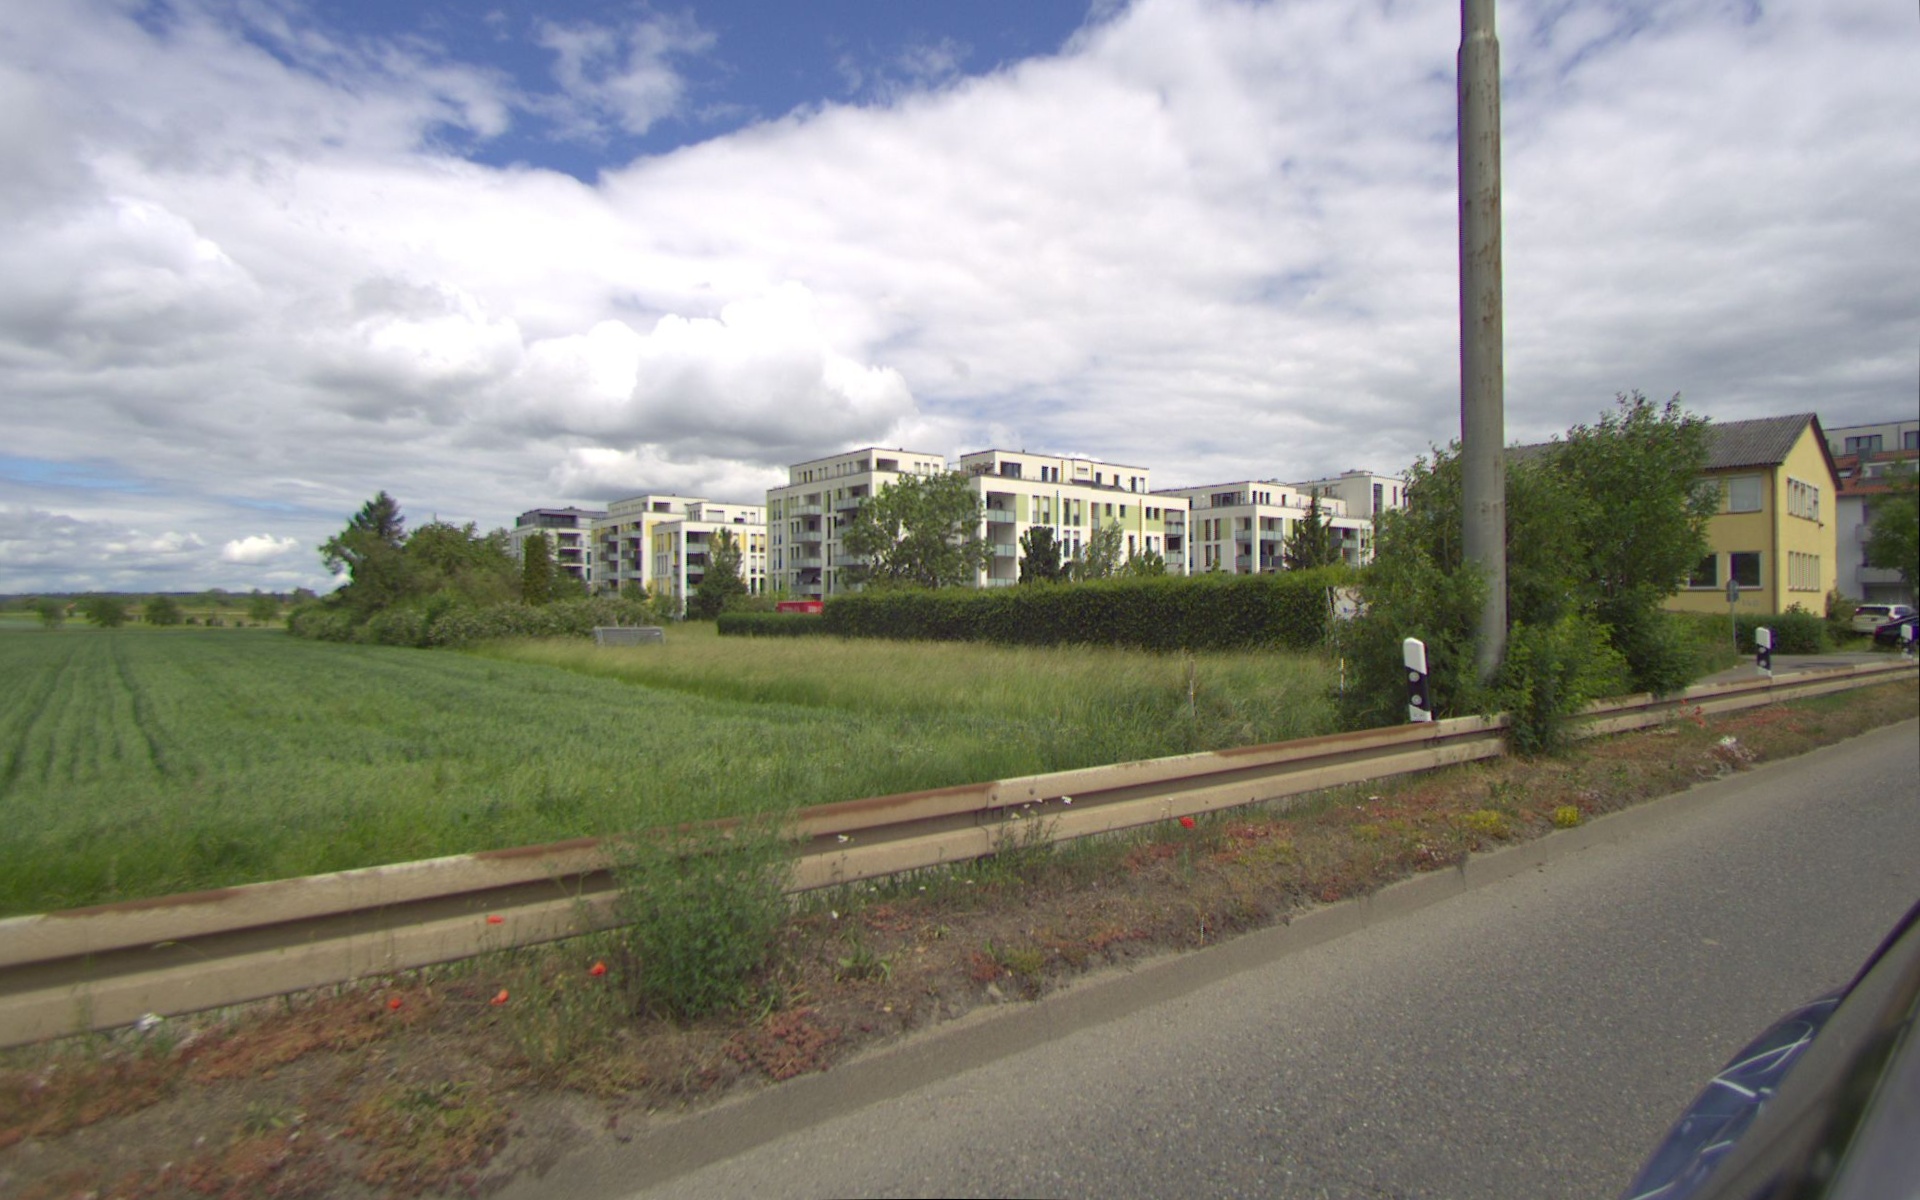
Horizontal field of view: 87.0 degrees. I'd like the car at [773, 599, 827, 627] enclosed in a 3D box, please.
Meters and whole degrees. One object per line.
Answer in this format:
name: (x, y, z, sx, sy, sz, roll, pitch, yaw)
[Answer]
car: (-12.255, 0.930, 77.395, 1.966, 2.039, 4.431, 0, 0, -43)
